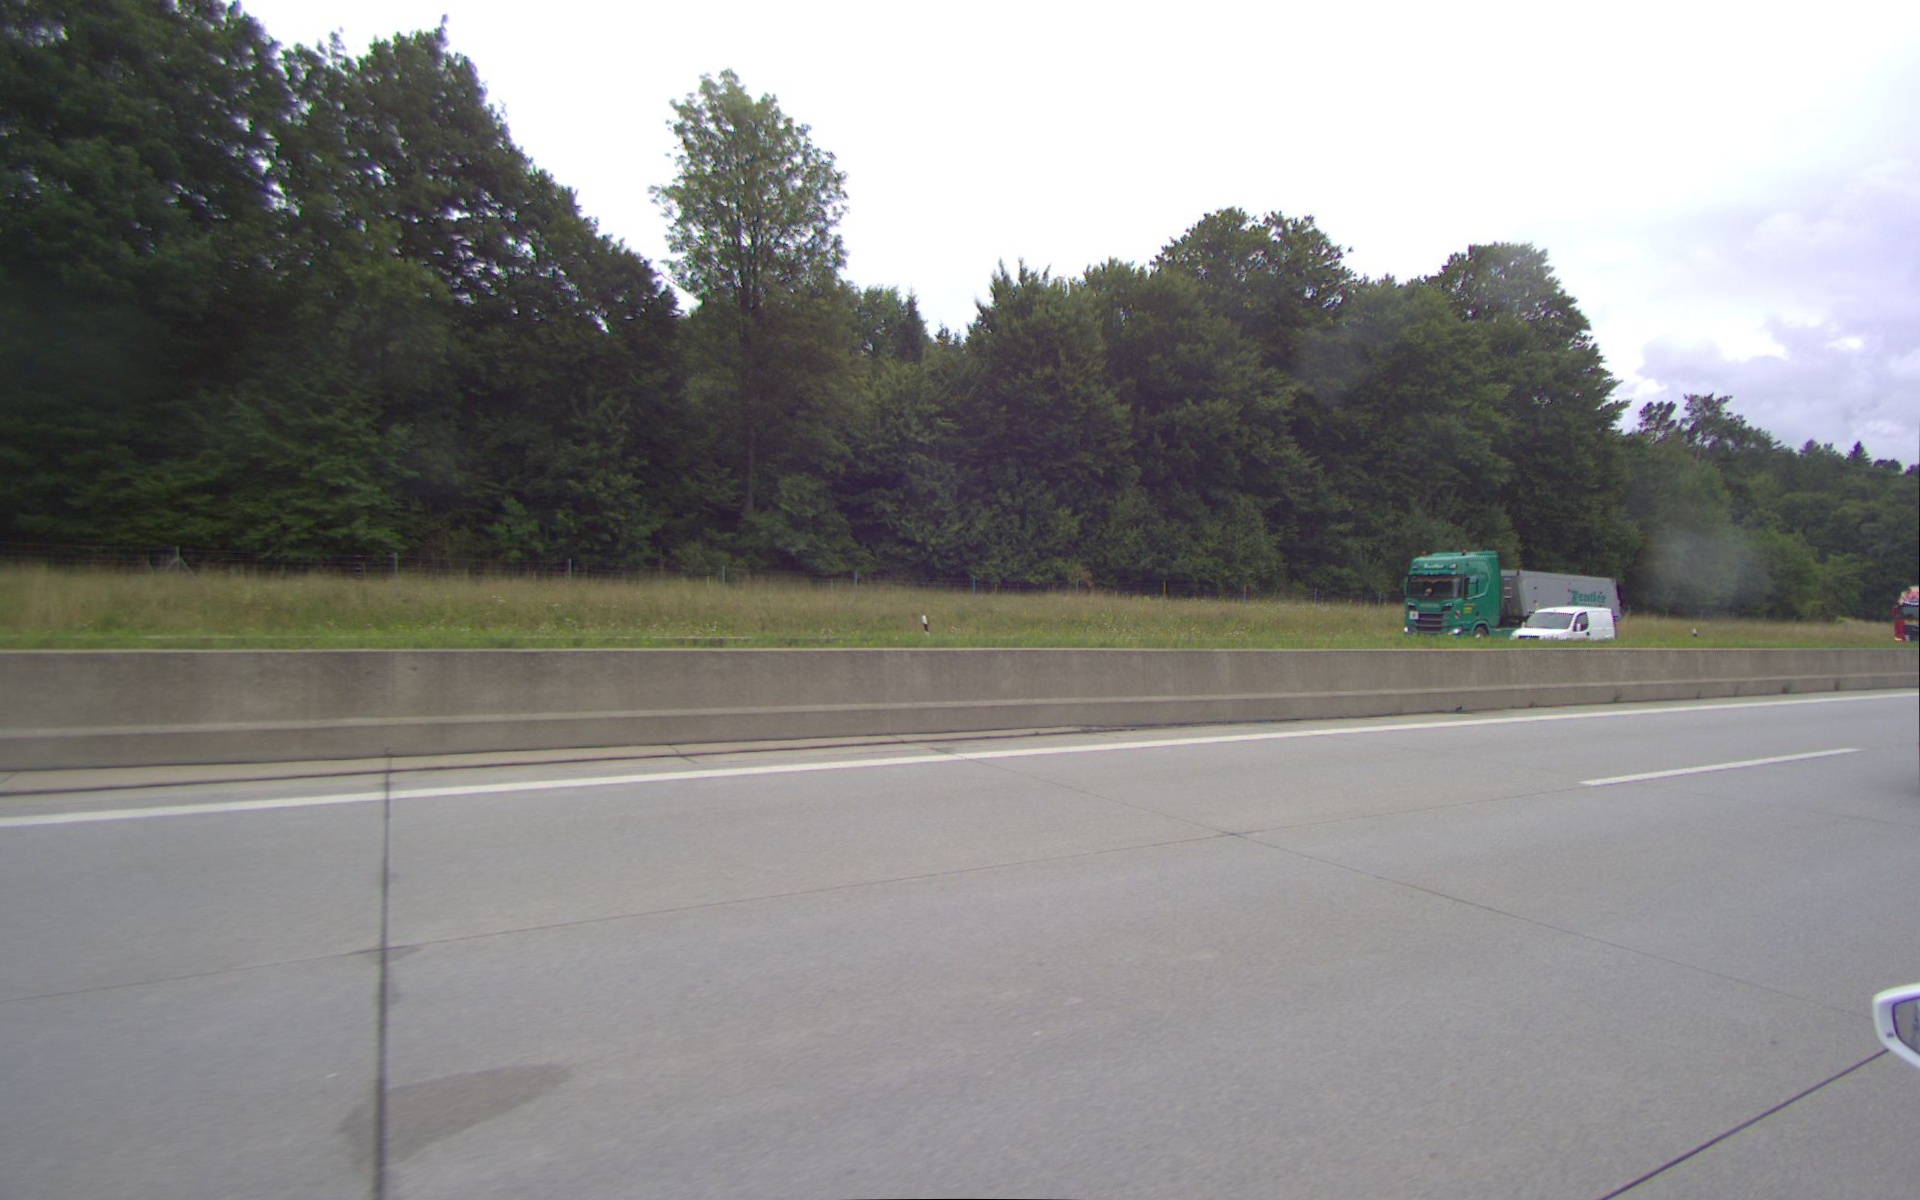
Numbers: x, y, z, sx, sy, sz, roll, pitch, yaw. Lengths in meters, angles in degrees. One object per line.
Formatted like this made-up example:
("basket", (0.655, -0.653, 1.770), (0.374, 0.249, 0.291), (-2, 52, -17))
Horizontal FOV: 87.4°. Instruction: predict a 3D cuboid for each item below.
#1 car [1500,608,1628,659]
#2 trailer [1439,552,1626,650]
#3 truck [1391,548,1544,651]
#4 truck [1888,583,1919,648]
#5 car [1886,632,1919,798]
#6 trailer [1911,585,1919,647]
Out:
("car", (20.515, 1.126, 34.077), (4.507, 1.621, 1.772), (1, 0, -30))
("trailer", (24.004, 0.124, 41.933), (8.909, 3.750, 2.789), (1, 0, -31))
("truck", (19.927, 0.032, 39.426), (5.595, 3.790, 2.766), (1, 0, -31))
("truck", (61.547, 1.016, 63.364), (6.867, 3.980, 2.540), (1, 0, -31))
("car", (10.506, 1.048, 9.215), (4.431, 1.417, 1.744), (1, 0, -30))
("trailer", (68.135, 1.172, 67.411), (14.216, 3.997, 2.594), (1, 0, -32))
